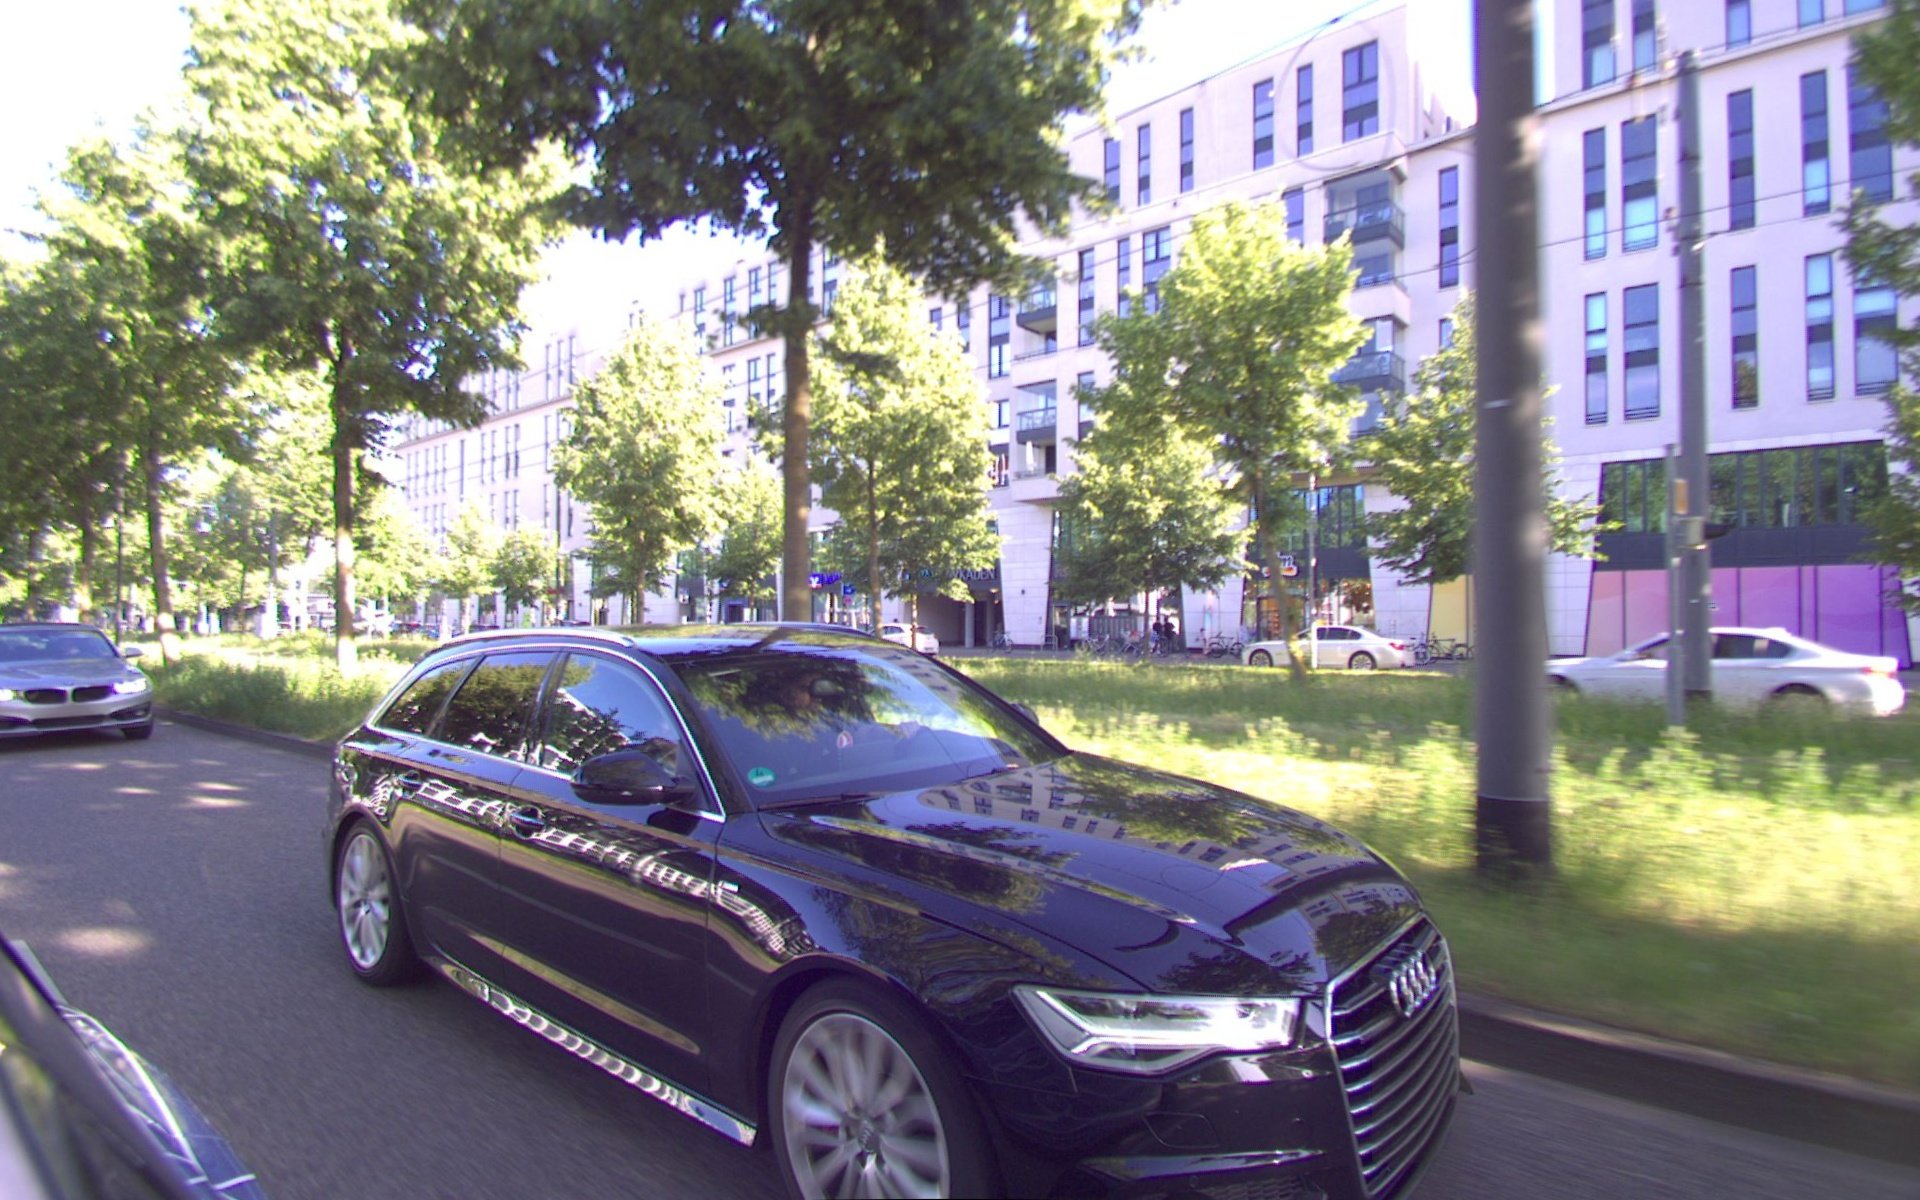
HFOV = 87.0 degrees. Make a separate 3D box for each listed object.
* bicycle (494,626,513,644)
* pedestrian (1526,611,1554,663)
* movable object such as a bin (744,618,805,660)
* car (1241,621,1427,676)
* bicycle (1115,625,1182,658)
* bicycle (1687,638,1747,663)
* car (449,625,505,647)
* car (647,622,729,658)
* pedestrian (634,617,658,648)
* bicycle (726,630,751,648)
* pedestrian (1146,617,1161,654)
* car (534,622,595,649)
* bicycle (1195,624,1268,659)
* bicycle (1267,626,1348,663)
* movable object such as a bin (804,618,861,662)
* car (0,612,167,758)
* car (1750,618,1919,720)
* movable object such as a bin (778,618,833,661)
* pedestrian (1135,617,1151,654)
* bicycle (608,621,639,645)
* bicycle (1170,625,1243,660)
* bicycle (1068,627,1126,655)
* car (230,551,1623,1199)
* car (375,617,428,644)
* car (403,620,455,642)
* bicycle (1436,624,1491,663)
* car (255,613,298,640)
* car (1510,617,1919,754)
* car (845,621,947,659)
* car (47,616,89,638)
[{"bbox_3d":[-36.745,2.793,81.392,0.654,1.334,2.338,-1,0,-43],"label":"bicycle"},{"bbox_3d":[19.323,1.220,33.712,0.719,1.663,0.629,-1,0,39],"label":"pedestrian"},{"bbox_3d":[-8.630,1.784,47.138,2.008,1.808,1.951,-1,0,38],"label":"movable object such as a bin"},{"bbox_3d":[11.225,1.408,30.582,4.920,1.452,1.974,-1,0,39],"label":"car"},{"bbox_3d":[7.906,1.725,42.668,0.935,1.290,2.775,-1,0,-42],"label":"bicycle"},{"bbox_3d":[24.261,1.612,32.436,1.516,0.737,0.274,-1,0,43],"label":"bicycle"},{"bbox_3d":[-32.896,2.454,68.906,4.331,1.424,1.707,-1,-2,38],"label":"car"},{"bbox_3d":[-14.245,2.049,52.889,4.333,1.742,1.974,-1,0,39],"label":"car"},{"bbox_3d":[-18.518,1.900,59.723,1.222,1.756,0.834,-1,0,41],"label":"pedestrian"},{"bbox_3d":[-13.435,2.358,61.410,0.610,0.996,1.850,-1,0,-44],"label":"bicycle"},{"bbox_3d":[8.374,1.513,43.768,0.494,1.561,0.522,-1,0,-7],"label":"pedestrian"},{"bbox_3d":[-23.675,2.100,60.561,4.268,1.491,1.542,-1,-1,40],"label":"car"},{"bbox_3d":[10.867,1.652,40.579,0.935,1.290,2.775,-1,0,-42],"label":"bicycle"},{"bbox_3d":[13.056,1.646,38.140,0.935,1.290,2.775,-1,0,-42],"label":"bicycle"},{"bbox_3d":[-5.623,1.749,44.722,1.554,1.808,1.951,-1,0,39],"label":"movable object such as a bin"},{"bbox_3d":[-11.942,0.976,13.117,4.276,1.590,1.862,-1,0,41],"label":"car"},{"bbox_3d":[15.390,1.043,15.474,5.109,1.452,1.972,-1,0,42],"label":"car"},{"bbox_3d":[-7.001,1.765,45.881,1.554,1.808,1.951,-1,0,39],"label":"movable object such as a bin"},{"bbox_3d":[7.828,1.526,43.315,0.494,1.561,0.522,-1,0,-7],"label":"pedestrian"},{"bbox_3d":[-23.023,2.228,69.262,3.034,1.557,0.611,-1,0,43],"label":"bicycle"},{"bbox_3d":[9.758,1.675,40.160,0.935,1.290,2.775,-1,0,-42],"label":"bicycle"},{"bbox_3d":[5.980,1.784,44.335,2.369,1.145,0.860,-1,0,32],"label":"bicycle"},{"bbox_3d":[-0.722,0.771,3.706,5.079,1.492,1.933,-2,-2,39],"label":"car"},{"bbox_3d":[-42.650,2.307,77.280,4.548,2.029,1.974,-1,-2,38],"label":"car"},{"bbox_3d":[-38.826,2.272,73.955,3.995,1.584,1.974,-1,-2,39],"label":"car"},{"bbox_3d":[17.264,1.478,34.719,1.606,1.290,0.592,-1,0,39],"label":"bicycle"},{"bbox_3d":[-53.856,2.052,79.729,4.001,2.029,1.971,-1,0,44],"label":"car"},{"bbox_3d":[11.377,1.146,15.274,5.107,1.698,1.973,-1,0,41],"label":"car"},{"bbox_3d":[-2.717,1.633,42.471,4.015,1.452,1.974,-1,0,39],"label":"car"},{"bbox_3d":[-103.811,3.132,117.747,6.018,2.399,2.482,-1,0,37],"label":"car"}]
